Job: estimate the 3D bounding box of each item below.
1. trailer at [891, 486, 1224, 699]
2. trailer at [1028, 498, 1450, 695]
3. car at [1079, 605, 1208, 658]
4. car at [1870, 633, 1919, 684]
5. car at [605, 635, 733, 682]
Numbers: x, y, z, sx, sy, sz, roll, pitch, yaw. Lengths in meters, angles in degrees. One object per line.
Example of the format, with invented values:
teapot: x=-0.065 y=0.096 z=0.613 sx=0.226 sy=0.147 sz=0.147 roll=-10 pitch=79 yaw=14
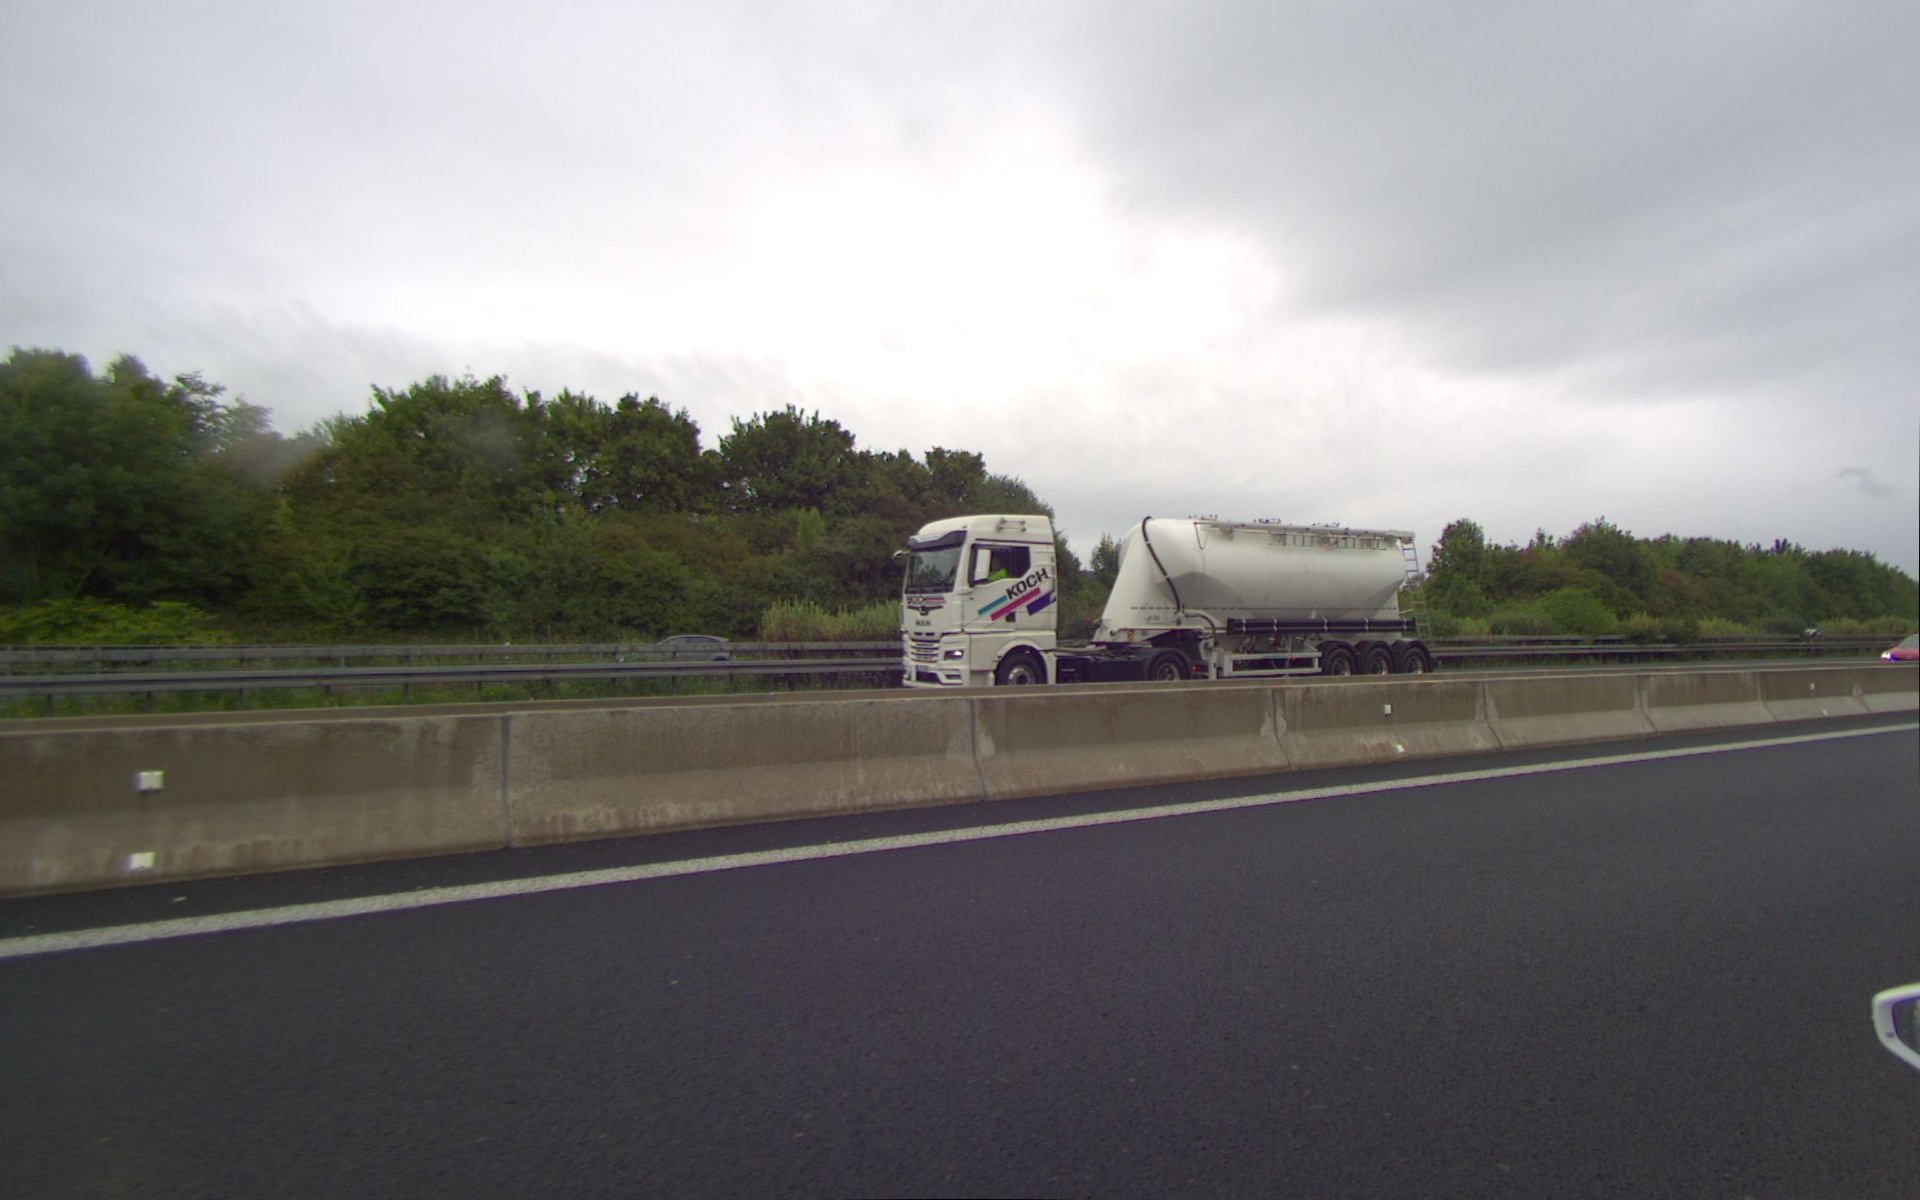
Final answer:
trailer: x=2.070 y=-0.046 z=20.498 sx=6.414 sy=3.765 sz=2.625 roll=2 pitch=-1 yaw=-30
trailer: x=6.758 y=0.073 z=23.163 sx=10.681 sy=3.786 sz=2.624 roll=2 pitch=-1 yaw=-30
car: x=7.508 y=1.281 z=40.923 sx=5.237 sy=2.040 sz=1.865 roll=2 pitch=-1 yaw=-30
car: x=32.066 y=1.910 z=33.160 sx=4.305 sy=1.601 sz=1.800 roll=2 pitch=-1 yaw=-30
car: x=-10.021 y=1.994 z=34.671 sx=3.954 sy=1.475 sz=1.667 roll=2 pitch=-1 yaw=-31
